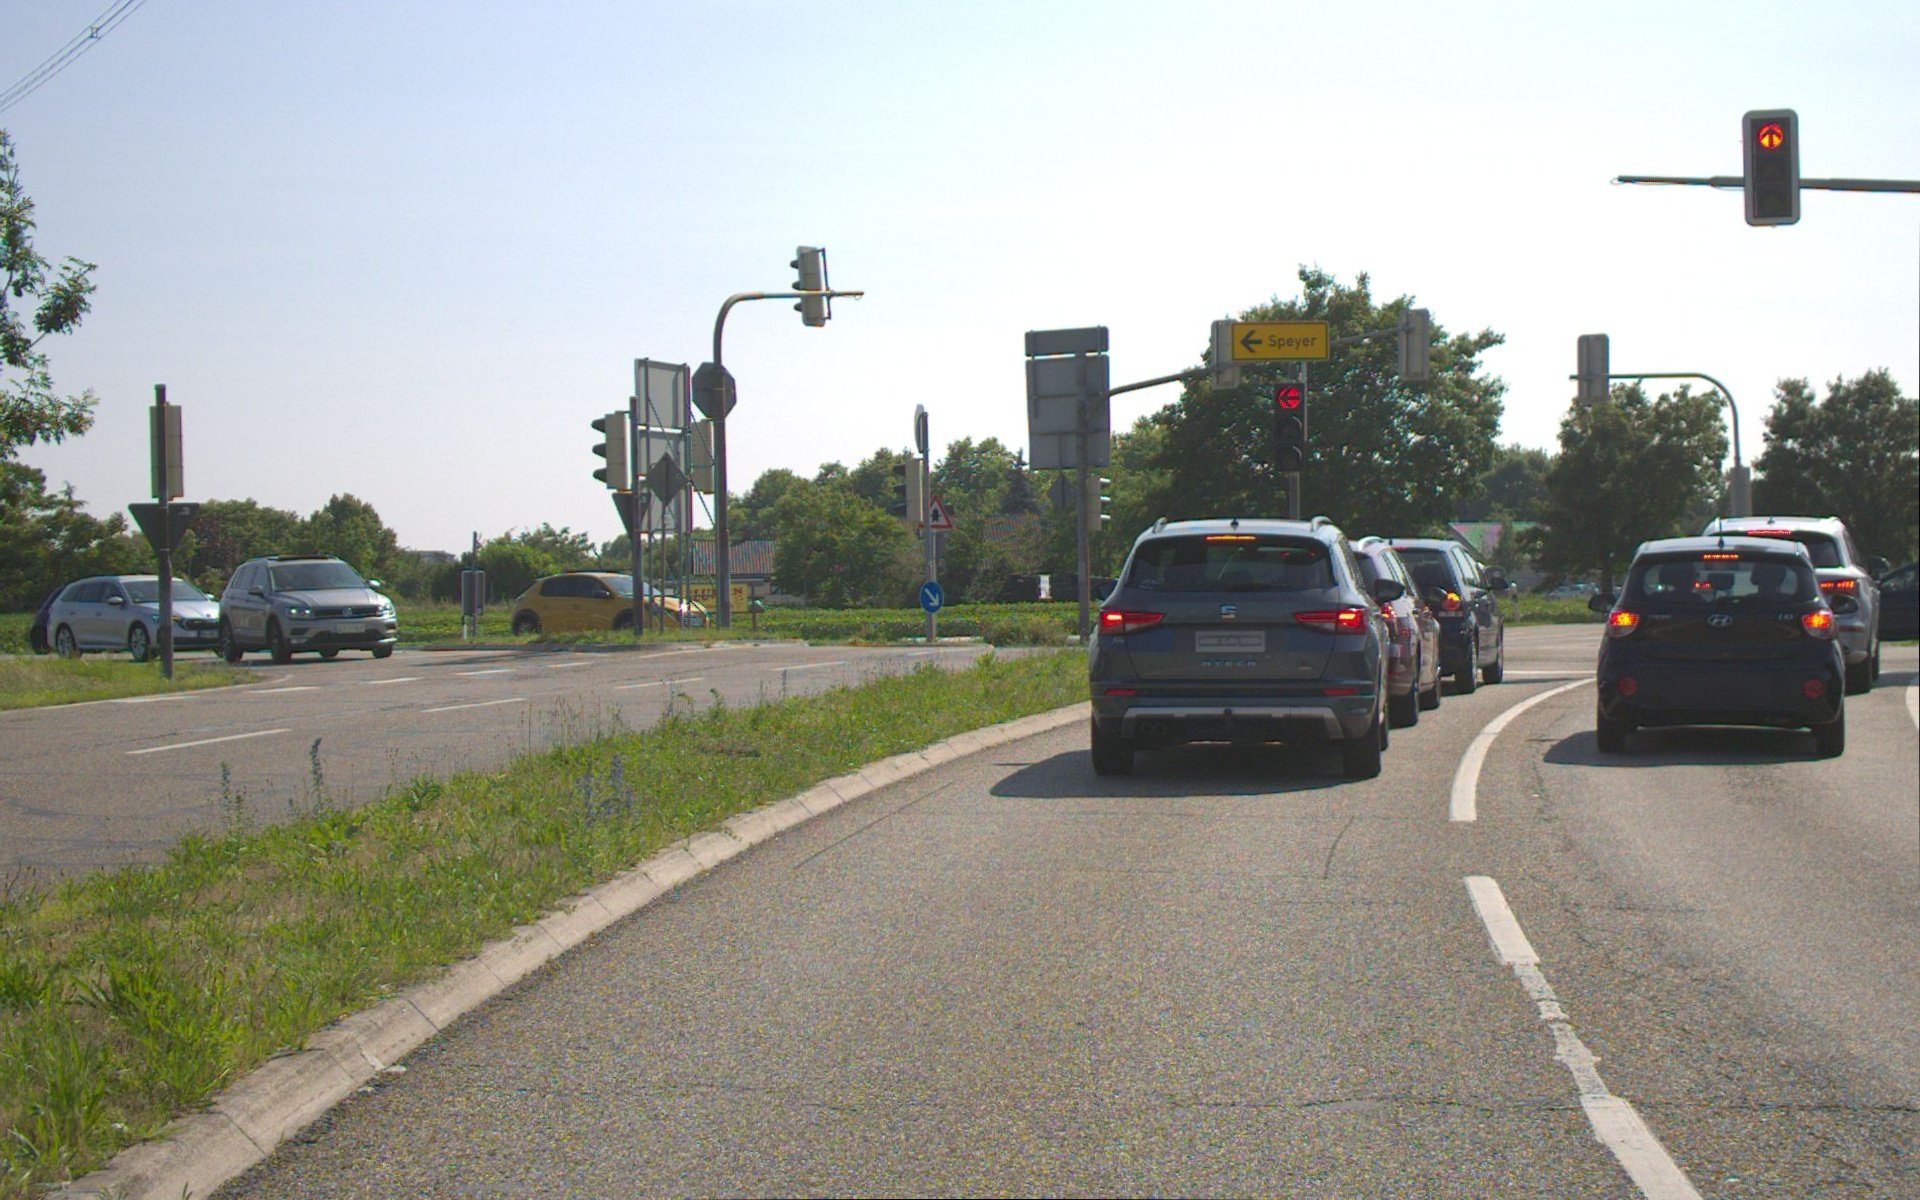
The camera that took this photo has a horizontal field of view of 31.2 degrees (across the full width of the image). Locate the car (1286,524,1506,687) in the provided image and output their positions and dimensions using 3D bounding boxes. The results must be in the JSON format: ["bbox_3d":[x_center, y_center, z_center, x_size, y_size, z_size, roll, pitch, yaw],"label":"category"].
[{"bbox_3d":[4.312,0.029,33.631,1.743,1.479,3.622,1,1,13],"label":"car"}]

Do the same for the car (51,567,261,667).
[{"bbox_3d":[-13.850,0.282,59.127,1.815,1.645,3.998,-1,1,-42],"label":"car"}]

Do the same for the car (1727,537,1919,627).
[{"bbox_3d":[14.598,-0.291,55.226,4.098,1.411,1.713,0,1,35],"label":"car"}]

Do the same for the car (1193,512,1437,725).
[{"bbox_3d":[2.898,0.116,27.500,1.742,1.563,3.623,1,1,9],"label":"car"}]

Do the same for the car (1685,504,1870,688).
[{"bbox_3d":[7.981,-0.064,33.391,1.634,1.671,3.747,1,1,15],"label":"car"}]

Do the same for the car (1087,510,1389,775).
[{"bbox_3d":[1.872,0.231,22.229,1.742,1.563,3.623,0,1,8],"label":"car"}]

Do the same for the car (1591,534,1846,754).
[{"bbox_3d":[5.476,0.263,24.585,1.634,1.443,3.293,1,1,15],"label":"car"}]

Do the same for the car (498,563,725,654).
[{"bbox_3d":[-6.495,0.153,63.876,3.995,1.645,1.816,0,1,36],"label":"car"}]

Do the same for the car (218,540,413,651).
[{"bbox_3d":[-10.056,-0.079,53.442,1.814,1.645,4.000,-1,1,-29],"label":"car"}]
